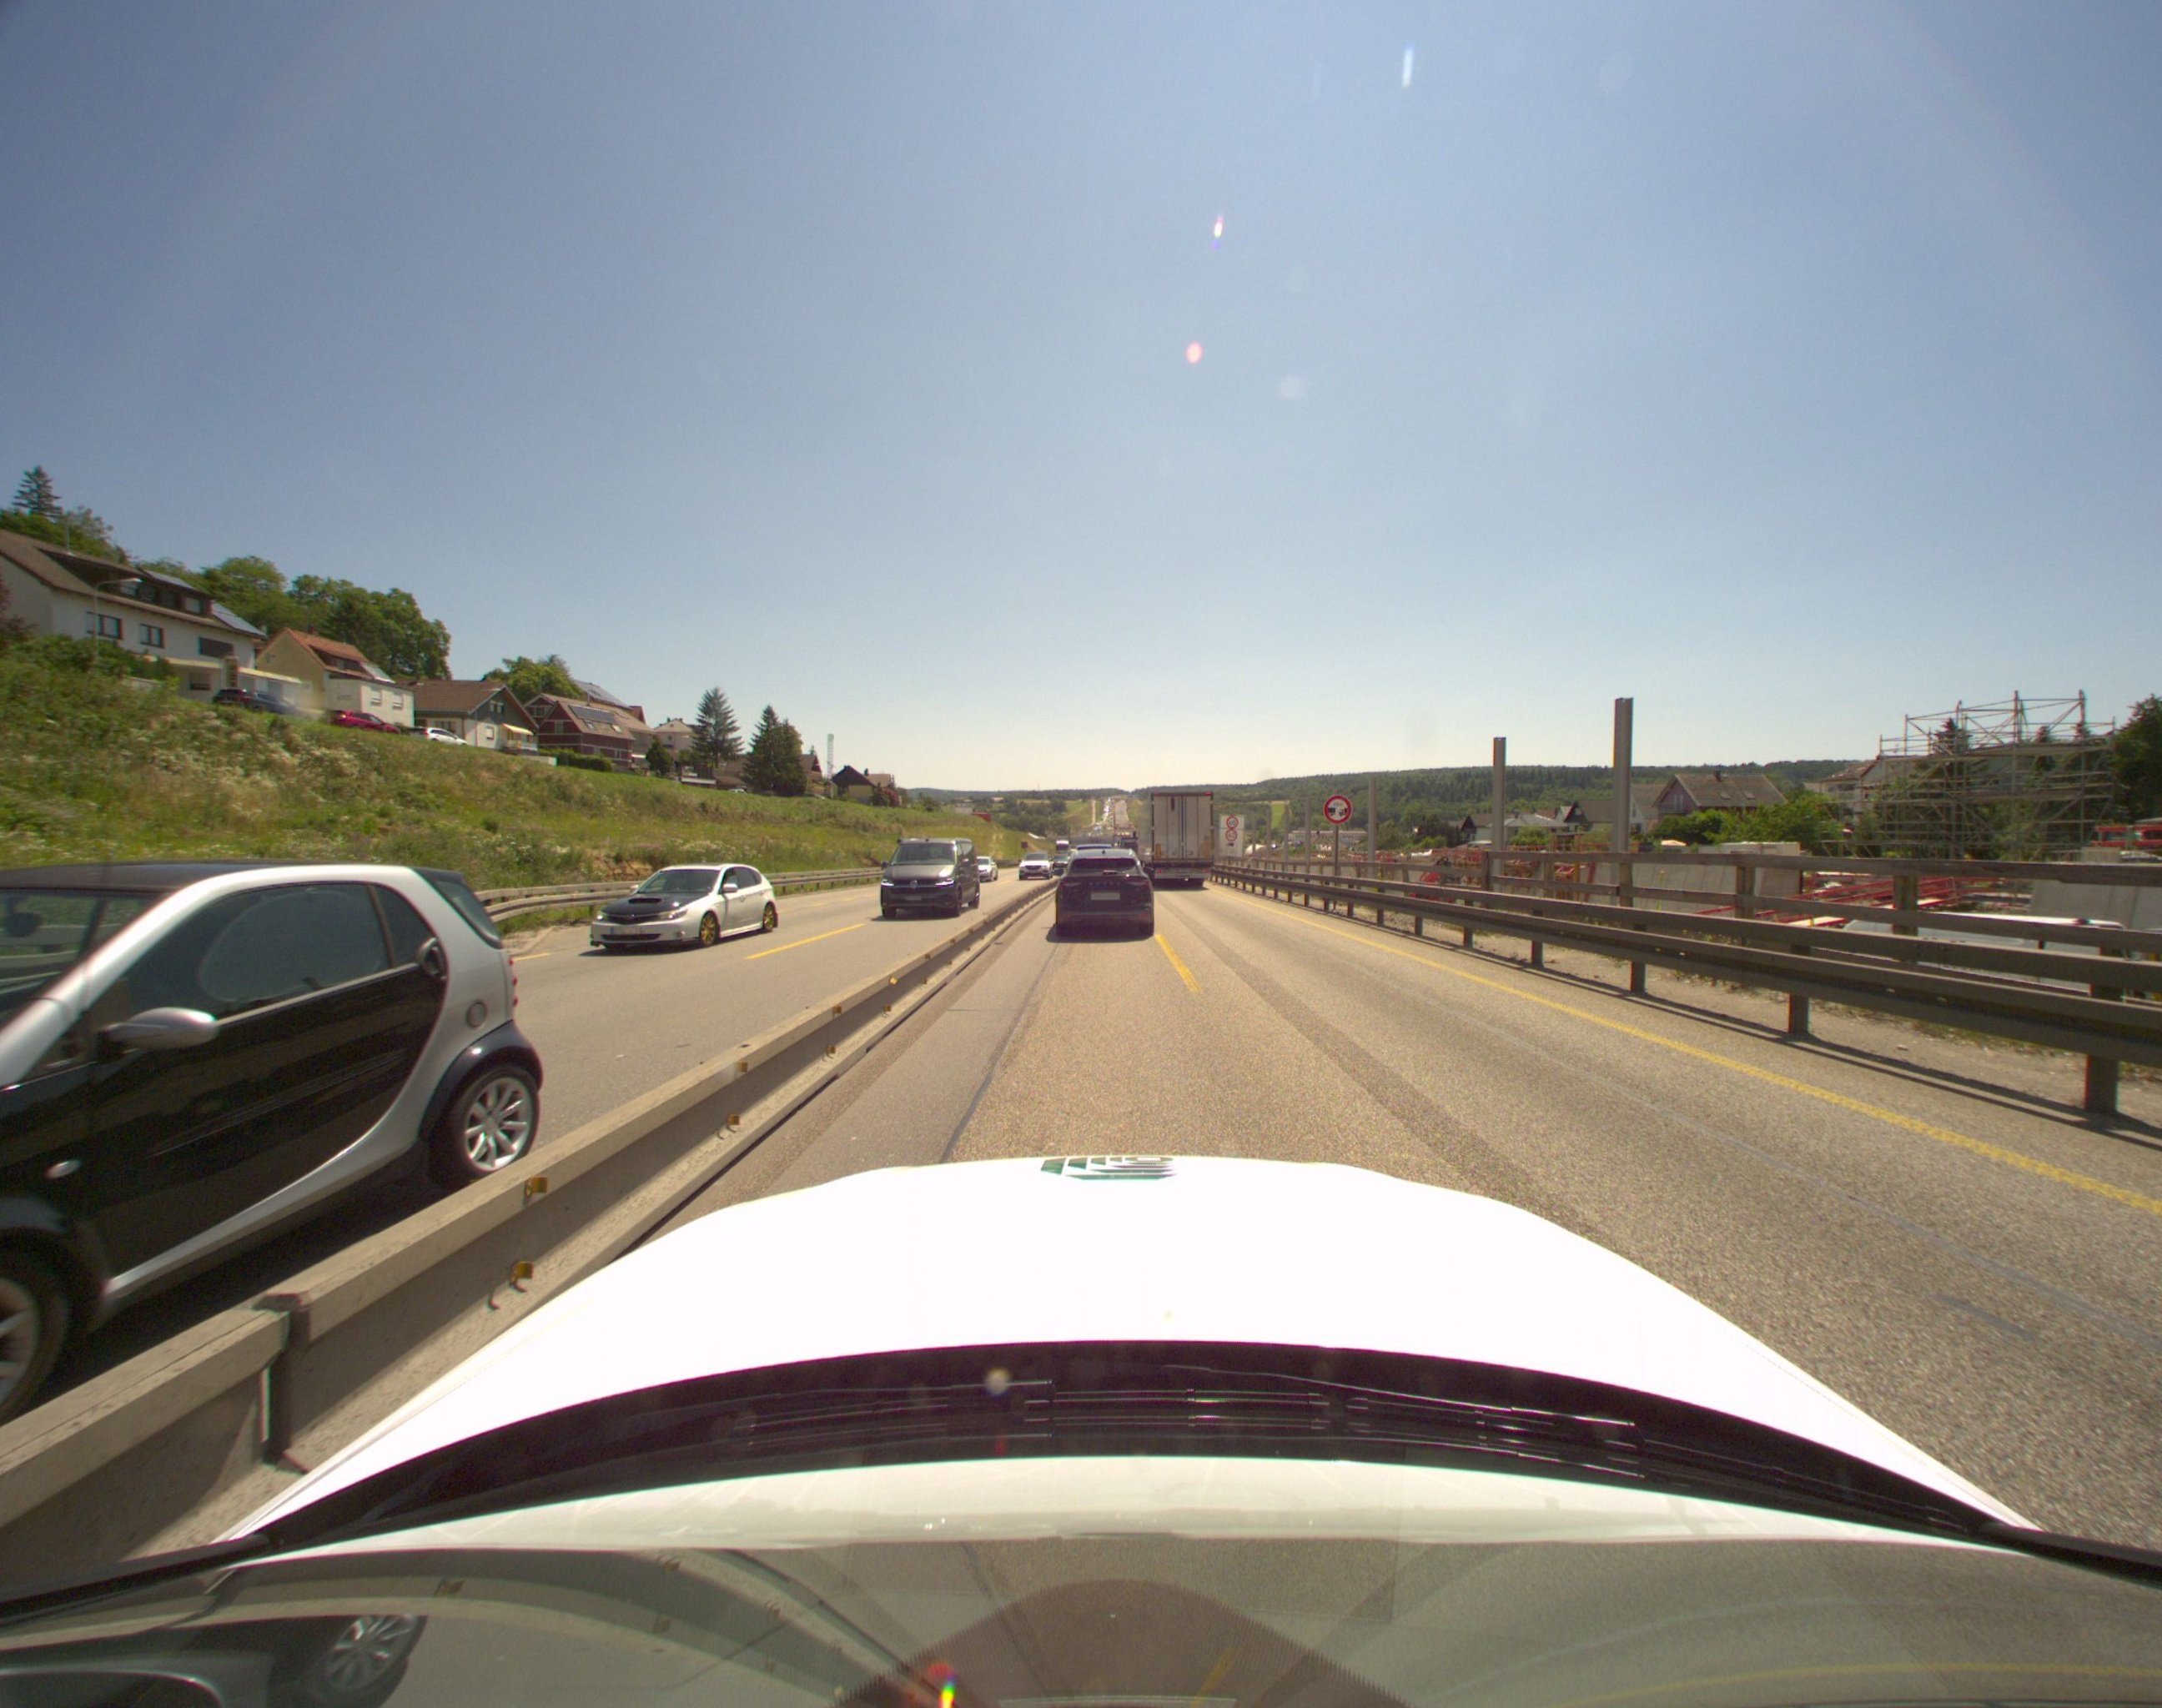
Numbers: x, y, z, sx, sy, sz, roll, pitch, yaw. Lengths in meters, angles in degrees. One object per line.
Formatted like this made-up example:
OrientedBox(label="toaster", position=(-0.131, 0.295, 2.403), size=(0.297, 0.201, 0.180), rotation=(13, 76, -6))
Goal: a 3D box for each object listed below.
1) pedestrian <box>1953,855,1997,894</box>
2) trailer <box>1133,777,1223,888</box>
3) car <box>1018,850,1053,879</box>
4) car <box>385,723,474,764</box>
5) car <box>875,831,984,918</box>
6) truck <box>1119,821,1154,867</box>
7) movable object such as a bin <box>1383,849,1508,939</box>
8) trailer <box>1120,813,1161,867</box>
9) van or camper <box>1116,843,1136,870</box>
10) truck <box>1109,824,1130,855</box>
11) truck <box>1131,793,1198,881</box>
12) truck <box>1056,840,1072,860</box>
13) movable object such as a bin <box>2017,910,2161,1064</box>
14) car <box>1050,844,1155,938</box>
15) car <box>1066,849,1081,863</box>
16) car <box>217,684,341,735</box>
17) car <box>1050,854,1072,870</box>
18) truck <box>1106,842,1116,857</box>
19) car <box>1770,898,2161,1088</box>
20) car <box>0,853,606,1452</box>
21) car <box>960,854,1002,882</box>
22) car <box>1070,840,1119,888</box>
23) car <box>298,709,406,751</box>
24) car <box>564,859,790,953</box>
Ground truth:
OrientedBox(label="pedestrian", position=(46.201, 1.054, 42.110), size=(1.132, 1.987, 0.974), rotation=(-1, -1, 5))
OrientedBox(label="trailer", position=(4.385, -0.934, 39.952), size=(3.169, 4.513, 13.113), rotation=(-1, 0, 2))
OrientedBox(label="car", position=(-2.703, 0.610, 49.084), size=(1.800, 1.640, 4.172), rotation=(-1, 0, 1))
OrientedBox(label="car", position=(-44.897, -7.592, 56.313), size=(2.341, 2.041, 4.815), rotation=(-1, -1, -2))
OrientedBox(label="car", position=(-3.863, 0.479, 21.605), size=(1.904, 2.013, 4.906), rotation=(-1, 0, 0))
OrientedBox(label="truck", position=(5.670, -0.922, 84.563), size=(3.169, 4.513, 8.167), rotation=(-1, -1, 1))
OrientedBox(label="movable object such as a bin", position=(21.194, 2.229, 48.202), size=(3.215, 4.743, 9.657), rotation=(-1, -1, 1))
OrientedBox(label="trailer", position=(5.442, -1.103, 77.422), size=(3.169, 4.513, 14.970), rotation=(-1, -1, 2))
OrientedBox(label="van or camper", position=(5.754, 0.425, 103.417), size=(2.378, 3.281, 6.474), rotation=(-1, -1, 4))
OrientedBox(label="truck", position=(6.030, -2.199, 128.385), size=(2.842, 4.465, 11.918), rotation=(-1, -1, 1))
OrientedBox(label="truck", position=(4.577, -0.921, 46.402), size=(3.169, 4.513, 8.168), rotation=(-1, 0, 1))
OrientedBox(label="truck", position=(-3.164, -0.719, 151.317), size=(2.769, 3.672, 6.278), rotation=(-1, 0, 1))
OrientedBox(label="movable object such as a bin", position=(20.832, 2.489, 14.577), size=(2.134, 2.676, 5.508), rotation=(-1, -1, 6))
OrientedBox(label="car", position=(0.456, 0.656, 16.116), size=(1.795, 1.607, 4.002), rotation=(-1, -1, 2))
OrientedBox(label="car", position=(-0.992, 0.261, 107.541), size=(1.839, 1.777, 4.883), rotation=(-1, 0, 1))
OrientedBox(label="car", position=(-42.990, -7.686, 43.841), size=(2.175, 1.794, 4.754), rotation=(-1, -1, -5))
OrientedBox(label="car", position=(-1.885, 0.741, 77.126), size=(1.791, 1.466, 4.356), rotation=(-2, 0, 1))
OrientedBox(label="truck", position=(8.457, -1.204, 230.727), size=(2.630, 4.194, 9.286), rotation=(-1, -1, 2))
OrientedBox(label="car", position=(18.132, 2.480, 16.921), size=(2.134, 2.856, 7.032), rotation=(-1, -1, 5))
OrientedBox(label="car", position=(-3.437, 0.762, 3.147), size=(1.478, 1.505, 2.806), rotation=(-1, 0, 1))
OrientedBox(label="car", position=(-5.679, 0.760, 46.821), size=(1.798, 1.497, 4.600), rotation=(-1, 0, 0))
OrientedBox(label="car", position=(0.600, 0.440, 35.375), size=(1.986, 1.926, 4.508), rotation=(-1, -1, 1))
OrientedBox(label="car", position=(-44.631, -7.548, 50.020), size=(2.341, 1.794, 4.798), rotation=(-1, -1, -2))
OrientedBox(label="car", position=(-7.136, 0.829, 15.033), size=(1.803, 1.431, 4.557), rotation=(0, 0, 1))
